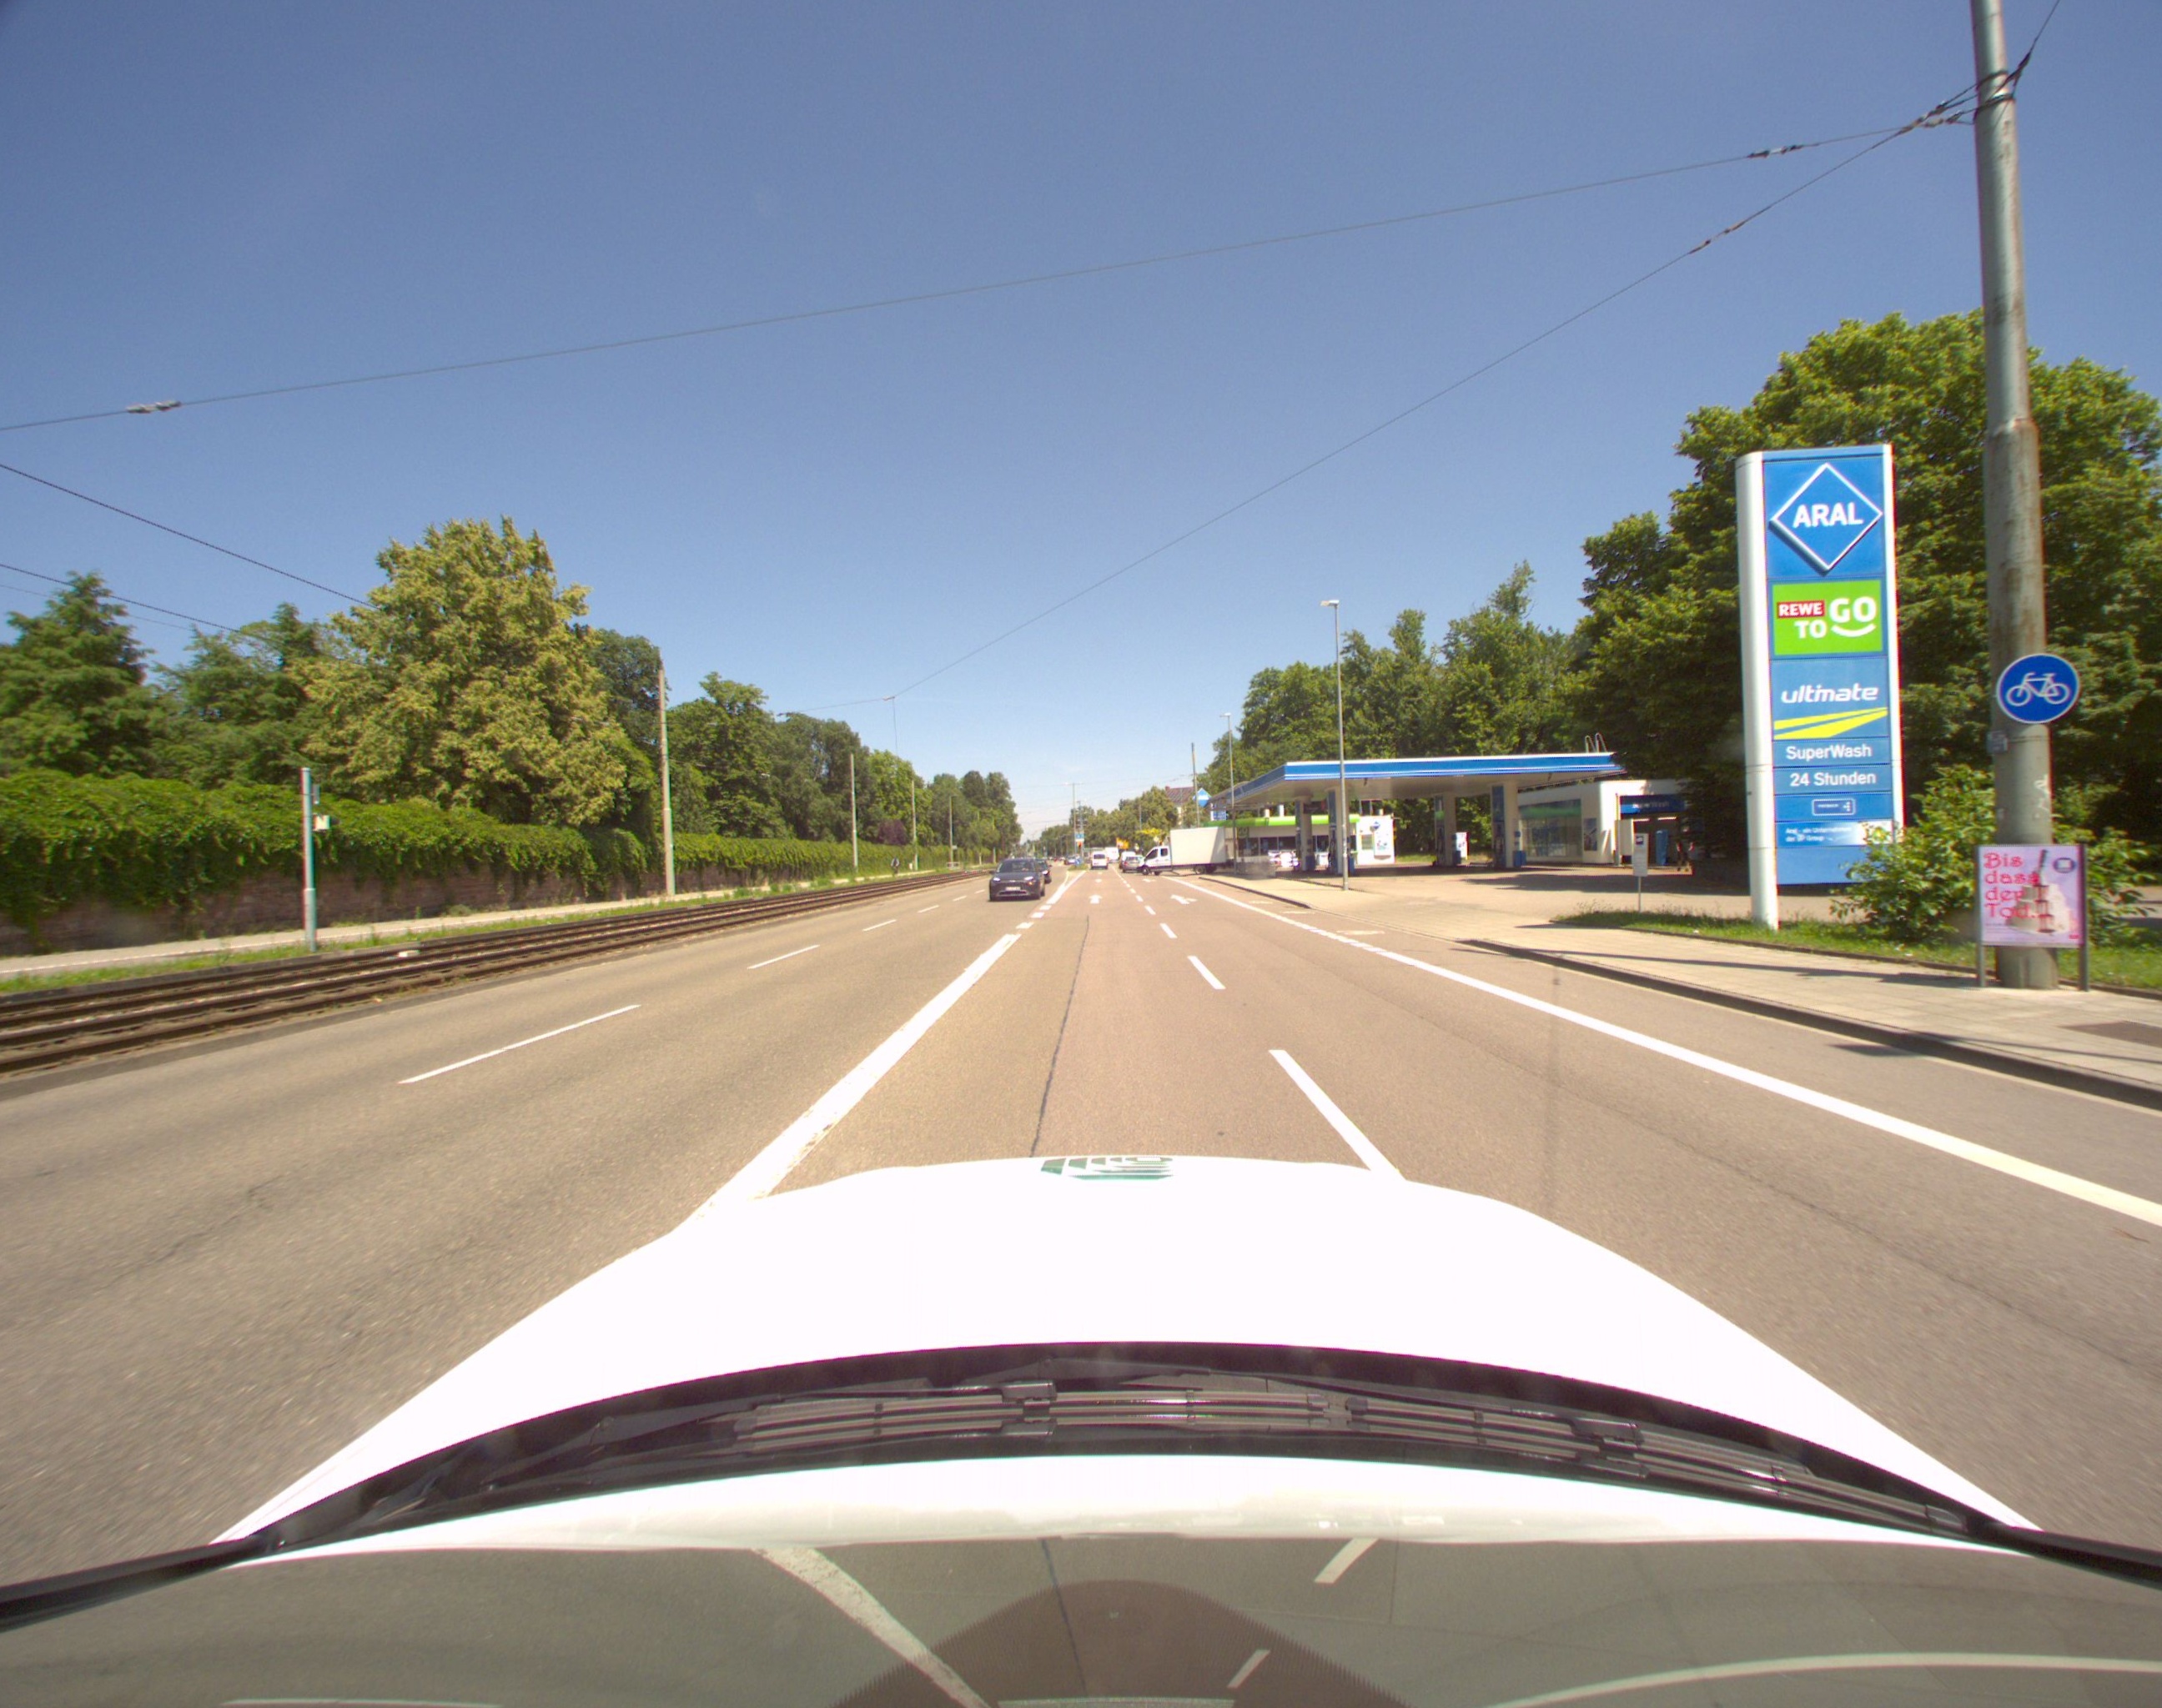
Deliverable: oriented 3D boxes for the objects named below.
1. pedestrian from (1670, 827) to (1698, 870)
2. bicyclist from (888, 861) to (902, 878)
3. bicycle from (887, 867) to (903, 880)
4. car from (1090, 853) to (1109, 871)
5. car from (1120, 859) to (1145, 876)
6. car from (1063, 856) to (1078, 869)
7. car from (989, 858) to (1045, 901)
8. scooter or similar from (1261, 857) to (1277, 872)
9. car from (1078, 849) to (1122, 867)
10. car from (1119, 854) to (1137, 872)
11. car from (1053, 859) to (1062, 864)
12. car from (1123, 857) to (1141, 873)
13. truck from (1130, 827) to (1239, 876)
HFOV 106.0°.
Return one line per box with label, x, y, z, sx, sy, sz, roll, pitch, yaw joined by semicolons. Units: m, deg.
pedestrian;26.954;-0.228;36.414;0.622;1.888;0.837;-2;0;1
bicyclist;-16.914;1.380;74.004;0.991;1.486;1.000;-1;-1;0
bicycle;-16.901;1.777;74.073;0.825;1.156;2.685;-1;0;1
car;1.940;0.830;84.877;1.860;1.836;3.848;-1;0;0
car;4.469;1.159;70.838;1.766;1.420;3.997;-2;0;-2
car;-1.712;1.376;128.917;1.991;2.014;3.992;-1;0;-6
car;-2.266;0.896;29.699;1.708;1.422;4.140;-2;-1;-1
scooter or similar;14.457;0.815;62.536;1.131;1.176;0.384;-1;-1;1
car;2.723;0.610;117.398;2.720;2.516;6.144;-1;-1;-45
car;4.916;0.935;86.022;1.704;1.830;4.014;-2;-1;1
car;-6.523;2.153;226.741;1.976;1.358;4.540;-2;0;2
car;4.803;1.008;77.103;1.601;1.451;3.522;-1;0;2
truck;7.673;-0.144;60.938;7.732;3.391;2.443;-2;-1;32
